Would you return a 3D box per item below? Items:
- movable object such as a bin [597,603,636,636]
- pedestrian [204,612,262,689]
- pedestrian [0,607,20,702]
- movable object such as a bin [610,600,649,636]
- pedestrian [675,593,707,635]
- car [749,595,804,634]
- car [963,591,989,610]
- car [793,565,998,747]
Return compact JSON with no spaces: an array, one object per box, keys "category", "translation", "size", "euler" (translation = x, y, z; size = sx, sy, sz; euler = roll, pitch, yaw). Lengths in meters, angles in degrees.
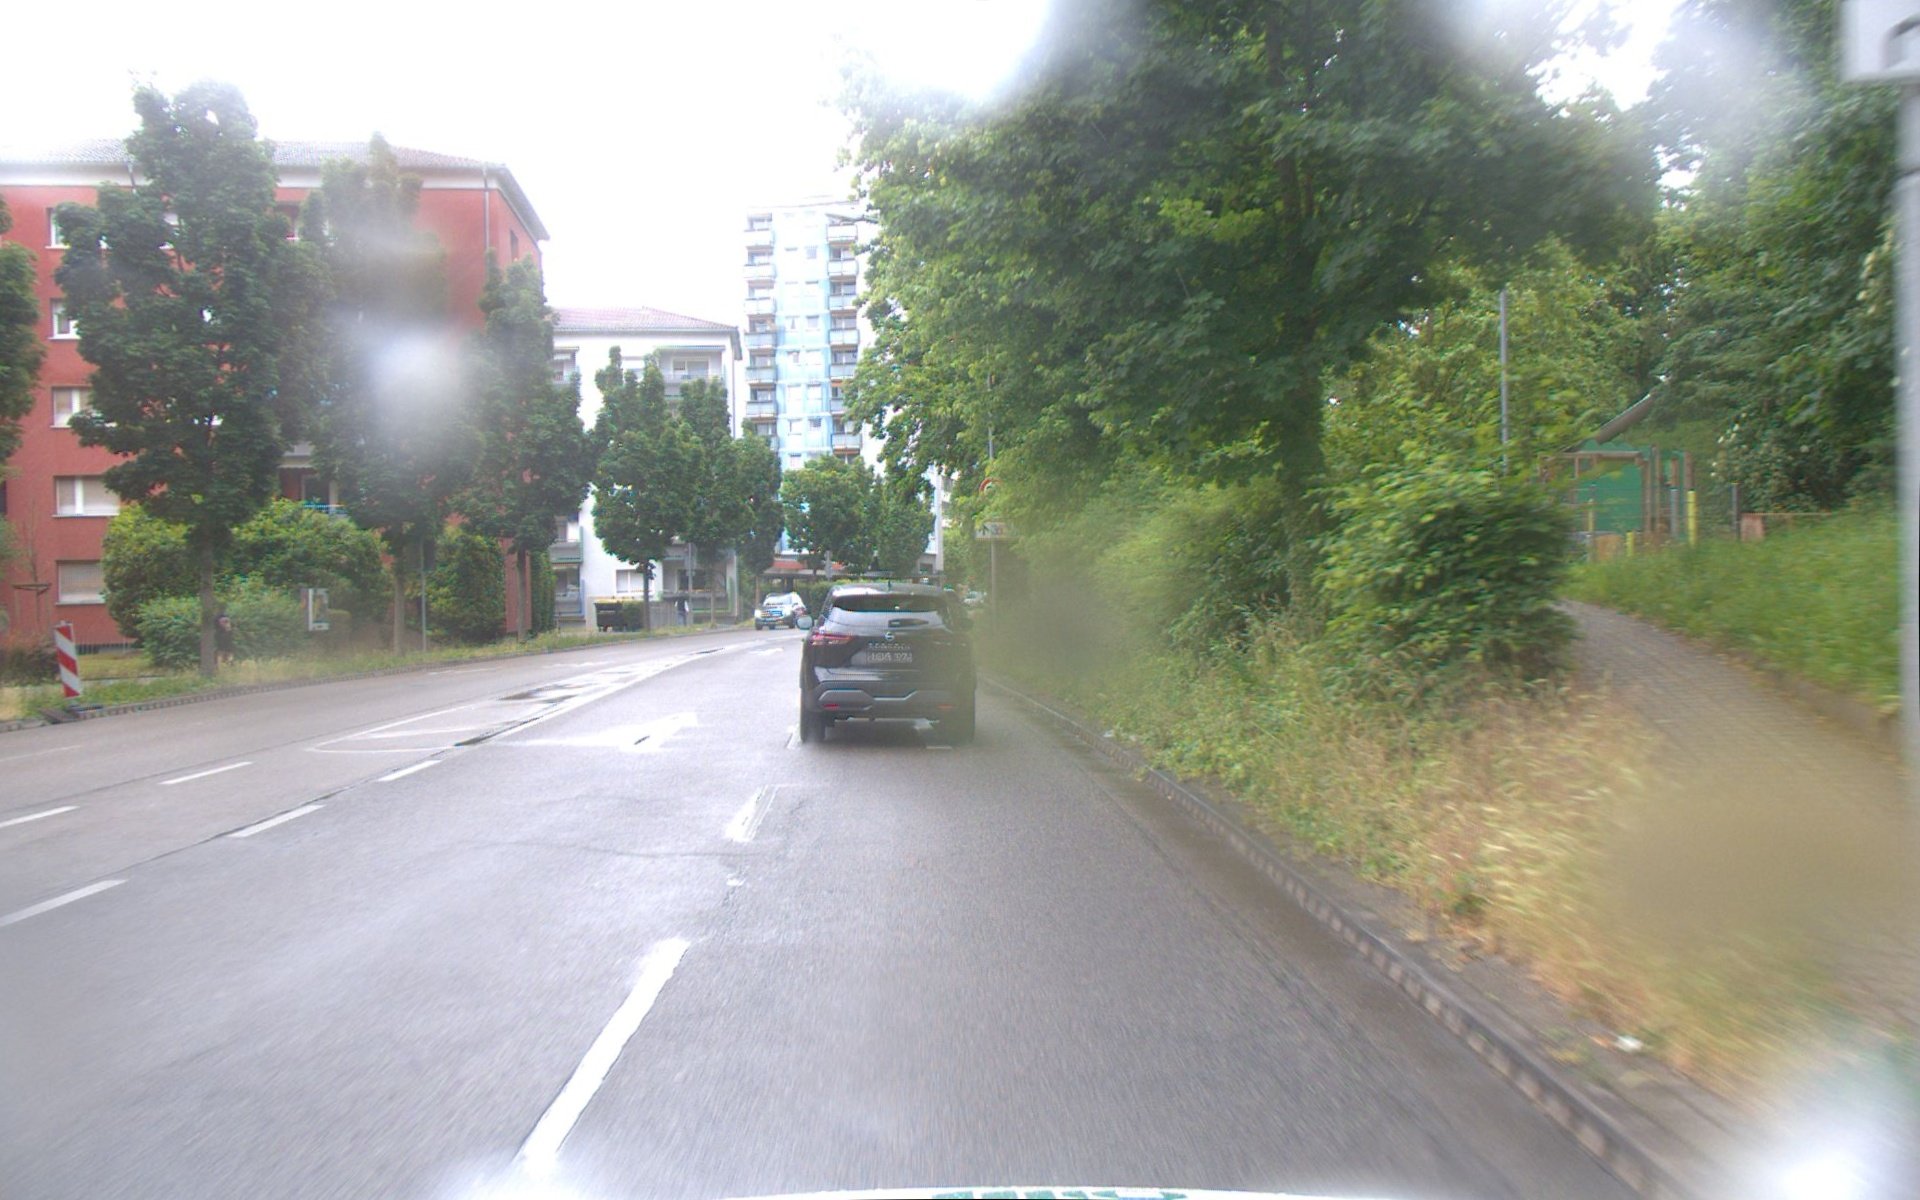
[{"category":"movable object such as a bin","translation":[-14.855,0.823,71.585],"size":[1.133,1.354,1.967],"euler":[-2,0,3]},{"category":"pedestrian","translation":[-15.183,1.035,34.560],"size":[0.678,1.544,1.069],"euler":[-2,0,0]},{"category":"pedestrian","translation":[-15.211,0.858,25.717],"size":[0.657,1.474,0.836],"euler":[-2,0,0]},{"category":"movable object such as a bin","translation":[-14.738,0.783,73.761],"size":[1.190,1.510,2.088],"euler":[-2,0,3]},{"category":"pedestrian","translation":[-12.356,0.638,75.900],"size":[1.110,1.835,1.264],"euler":[-2,0,5]},{"category":"car","translation":[-8.620,0.637,78.151],"size":[1.882,1.659,4.502],"euler":[-3,0,2]},{"category":"car","translation":[1.291,0.018,131.172],"size":[1.803,1.409,4.362],"euler":[-3,0,3]},{"category":"car","translation":[-0.685,0.534,18.011],"size":[1.920,1.681,3.999],"euler":[-2,0,-2]}]
